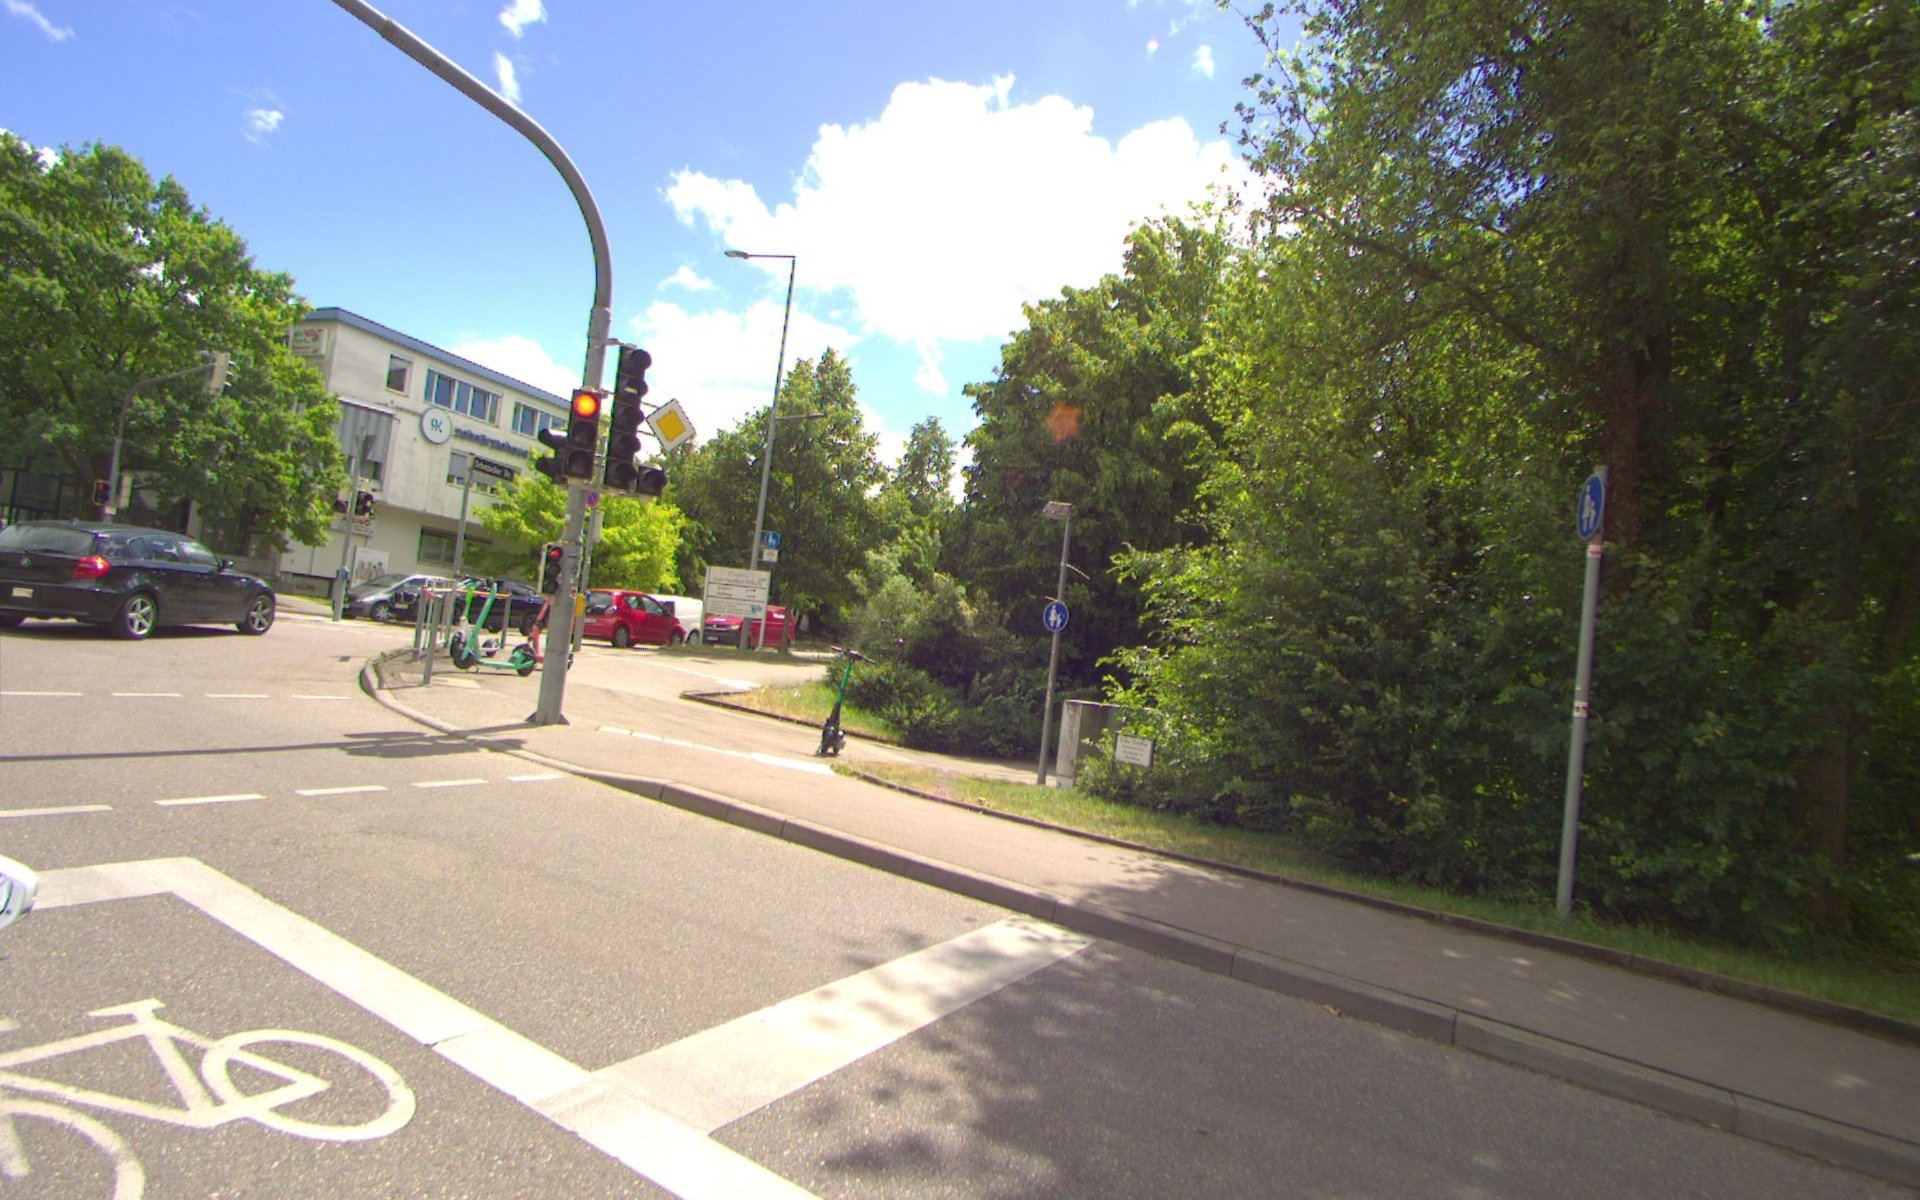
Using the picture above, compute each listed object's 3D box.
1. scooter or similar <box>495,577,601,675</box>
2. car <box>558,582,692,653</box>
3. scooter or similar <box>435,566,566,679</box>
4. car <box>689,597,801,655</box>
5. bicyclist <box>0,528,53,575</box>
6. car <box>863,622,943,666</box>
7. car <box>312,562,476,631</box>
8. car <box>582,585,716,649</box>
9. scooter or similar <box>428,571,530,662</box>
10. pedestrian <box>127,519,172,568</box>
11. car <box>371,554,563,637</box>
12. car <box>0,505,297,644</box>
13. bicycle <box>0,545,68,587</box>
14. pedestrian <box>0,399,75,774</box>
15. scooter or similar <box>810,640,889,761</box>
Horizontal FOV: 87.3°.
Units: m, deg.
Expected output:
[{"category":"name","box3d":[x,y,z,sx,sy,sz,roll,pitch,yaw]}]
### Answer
[{"category":"scooter or similar","box3d":[-5.962,0.396,14.625,0.547,1.254,1.231,8,-3,23]},{"category":"car","box3d":[-8.580,0.495,26.014,1.518,1.458,3.199,7,-2,18]},{"category":"scooter or similar","box3d":[-5.907,0.315,12.992,0.455,1.292,1.344,8,-1,38]},{"category":"car","box3d":[-8.700,1.123,41.165,1.964,1.885,4.822,5,-3,22]},{"category":"bicyclist","box3d":[-23.619,-1.215,25.362,0.624,1.034,0.795,7,-2,17]},{"category":"car","box3d":[-2.446,1.986,44.477,1.962,1.571,4.526,7,-2,17]},{"category":"car","box3d":[-17.263,-0.044,30.889,1.963,1.573,3.923,7,-2,21]},{"category":"car","box3d":[-11.027,0.674,36.004,1.963,1.737,4.576,7,-2,22]},{"category":"scooter or similar","box3d":[-6.976,0.263,14.652,0.533,1.168,1.362,9,-3,7]},{"category":"pedestrian","box3d":[-30.262,-2.101,37.584,0.890,1.662,0.771,7,-1,17]},{"category":"car","box3d":[-13.931,-0.054,28.754,1.964,1.737,4.574,7,-2,25]},{"category":"car","box3d":[-11.138,-0.299,13.688,1.727,1.505,3.998,6,-1,-5]},{"category":"bicycle","box3d":[-23.614,-0.878,25.363,1.773,0.828,0.795,7,-2,16]},{"category":"pedestrian","box3d":[-5.561,-0.128,5.253,0.881,1.964,0.968,7,-1,27]},{"category":"scooter or similar","box3d":[-1.368,1.232,12.257,0.706,1.287,1.243,10,-7,-8]}]
